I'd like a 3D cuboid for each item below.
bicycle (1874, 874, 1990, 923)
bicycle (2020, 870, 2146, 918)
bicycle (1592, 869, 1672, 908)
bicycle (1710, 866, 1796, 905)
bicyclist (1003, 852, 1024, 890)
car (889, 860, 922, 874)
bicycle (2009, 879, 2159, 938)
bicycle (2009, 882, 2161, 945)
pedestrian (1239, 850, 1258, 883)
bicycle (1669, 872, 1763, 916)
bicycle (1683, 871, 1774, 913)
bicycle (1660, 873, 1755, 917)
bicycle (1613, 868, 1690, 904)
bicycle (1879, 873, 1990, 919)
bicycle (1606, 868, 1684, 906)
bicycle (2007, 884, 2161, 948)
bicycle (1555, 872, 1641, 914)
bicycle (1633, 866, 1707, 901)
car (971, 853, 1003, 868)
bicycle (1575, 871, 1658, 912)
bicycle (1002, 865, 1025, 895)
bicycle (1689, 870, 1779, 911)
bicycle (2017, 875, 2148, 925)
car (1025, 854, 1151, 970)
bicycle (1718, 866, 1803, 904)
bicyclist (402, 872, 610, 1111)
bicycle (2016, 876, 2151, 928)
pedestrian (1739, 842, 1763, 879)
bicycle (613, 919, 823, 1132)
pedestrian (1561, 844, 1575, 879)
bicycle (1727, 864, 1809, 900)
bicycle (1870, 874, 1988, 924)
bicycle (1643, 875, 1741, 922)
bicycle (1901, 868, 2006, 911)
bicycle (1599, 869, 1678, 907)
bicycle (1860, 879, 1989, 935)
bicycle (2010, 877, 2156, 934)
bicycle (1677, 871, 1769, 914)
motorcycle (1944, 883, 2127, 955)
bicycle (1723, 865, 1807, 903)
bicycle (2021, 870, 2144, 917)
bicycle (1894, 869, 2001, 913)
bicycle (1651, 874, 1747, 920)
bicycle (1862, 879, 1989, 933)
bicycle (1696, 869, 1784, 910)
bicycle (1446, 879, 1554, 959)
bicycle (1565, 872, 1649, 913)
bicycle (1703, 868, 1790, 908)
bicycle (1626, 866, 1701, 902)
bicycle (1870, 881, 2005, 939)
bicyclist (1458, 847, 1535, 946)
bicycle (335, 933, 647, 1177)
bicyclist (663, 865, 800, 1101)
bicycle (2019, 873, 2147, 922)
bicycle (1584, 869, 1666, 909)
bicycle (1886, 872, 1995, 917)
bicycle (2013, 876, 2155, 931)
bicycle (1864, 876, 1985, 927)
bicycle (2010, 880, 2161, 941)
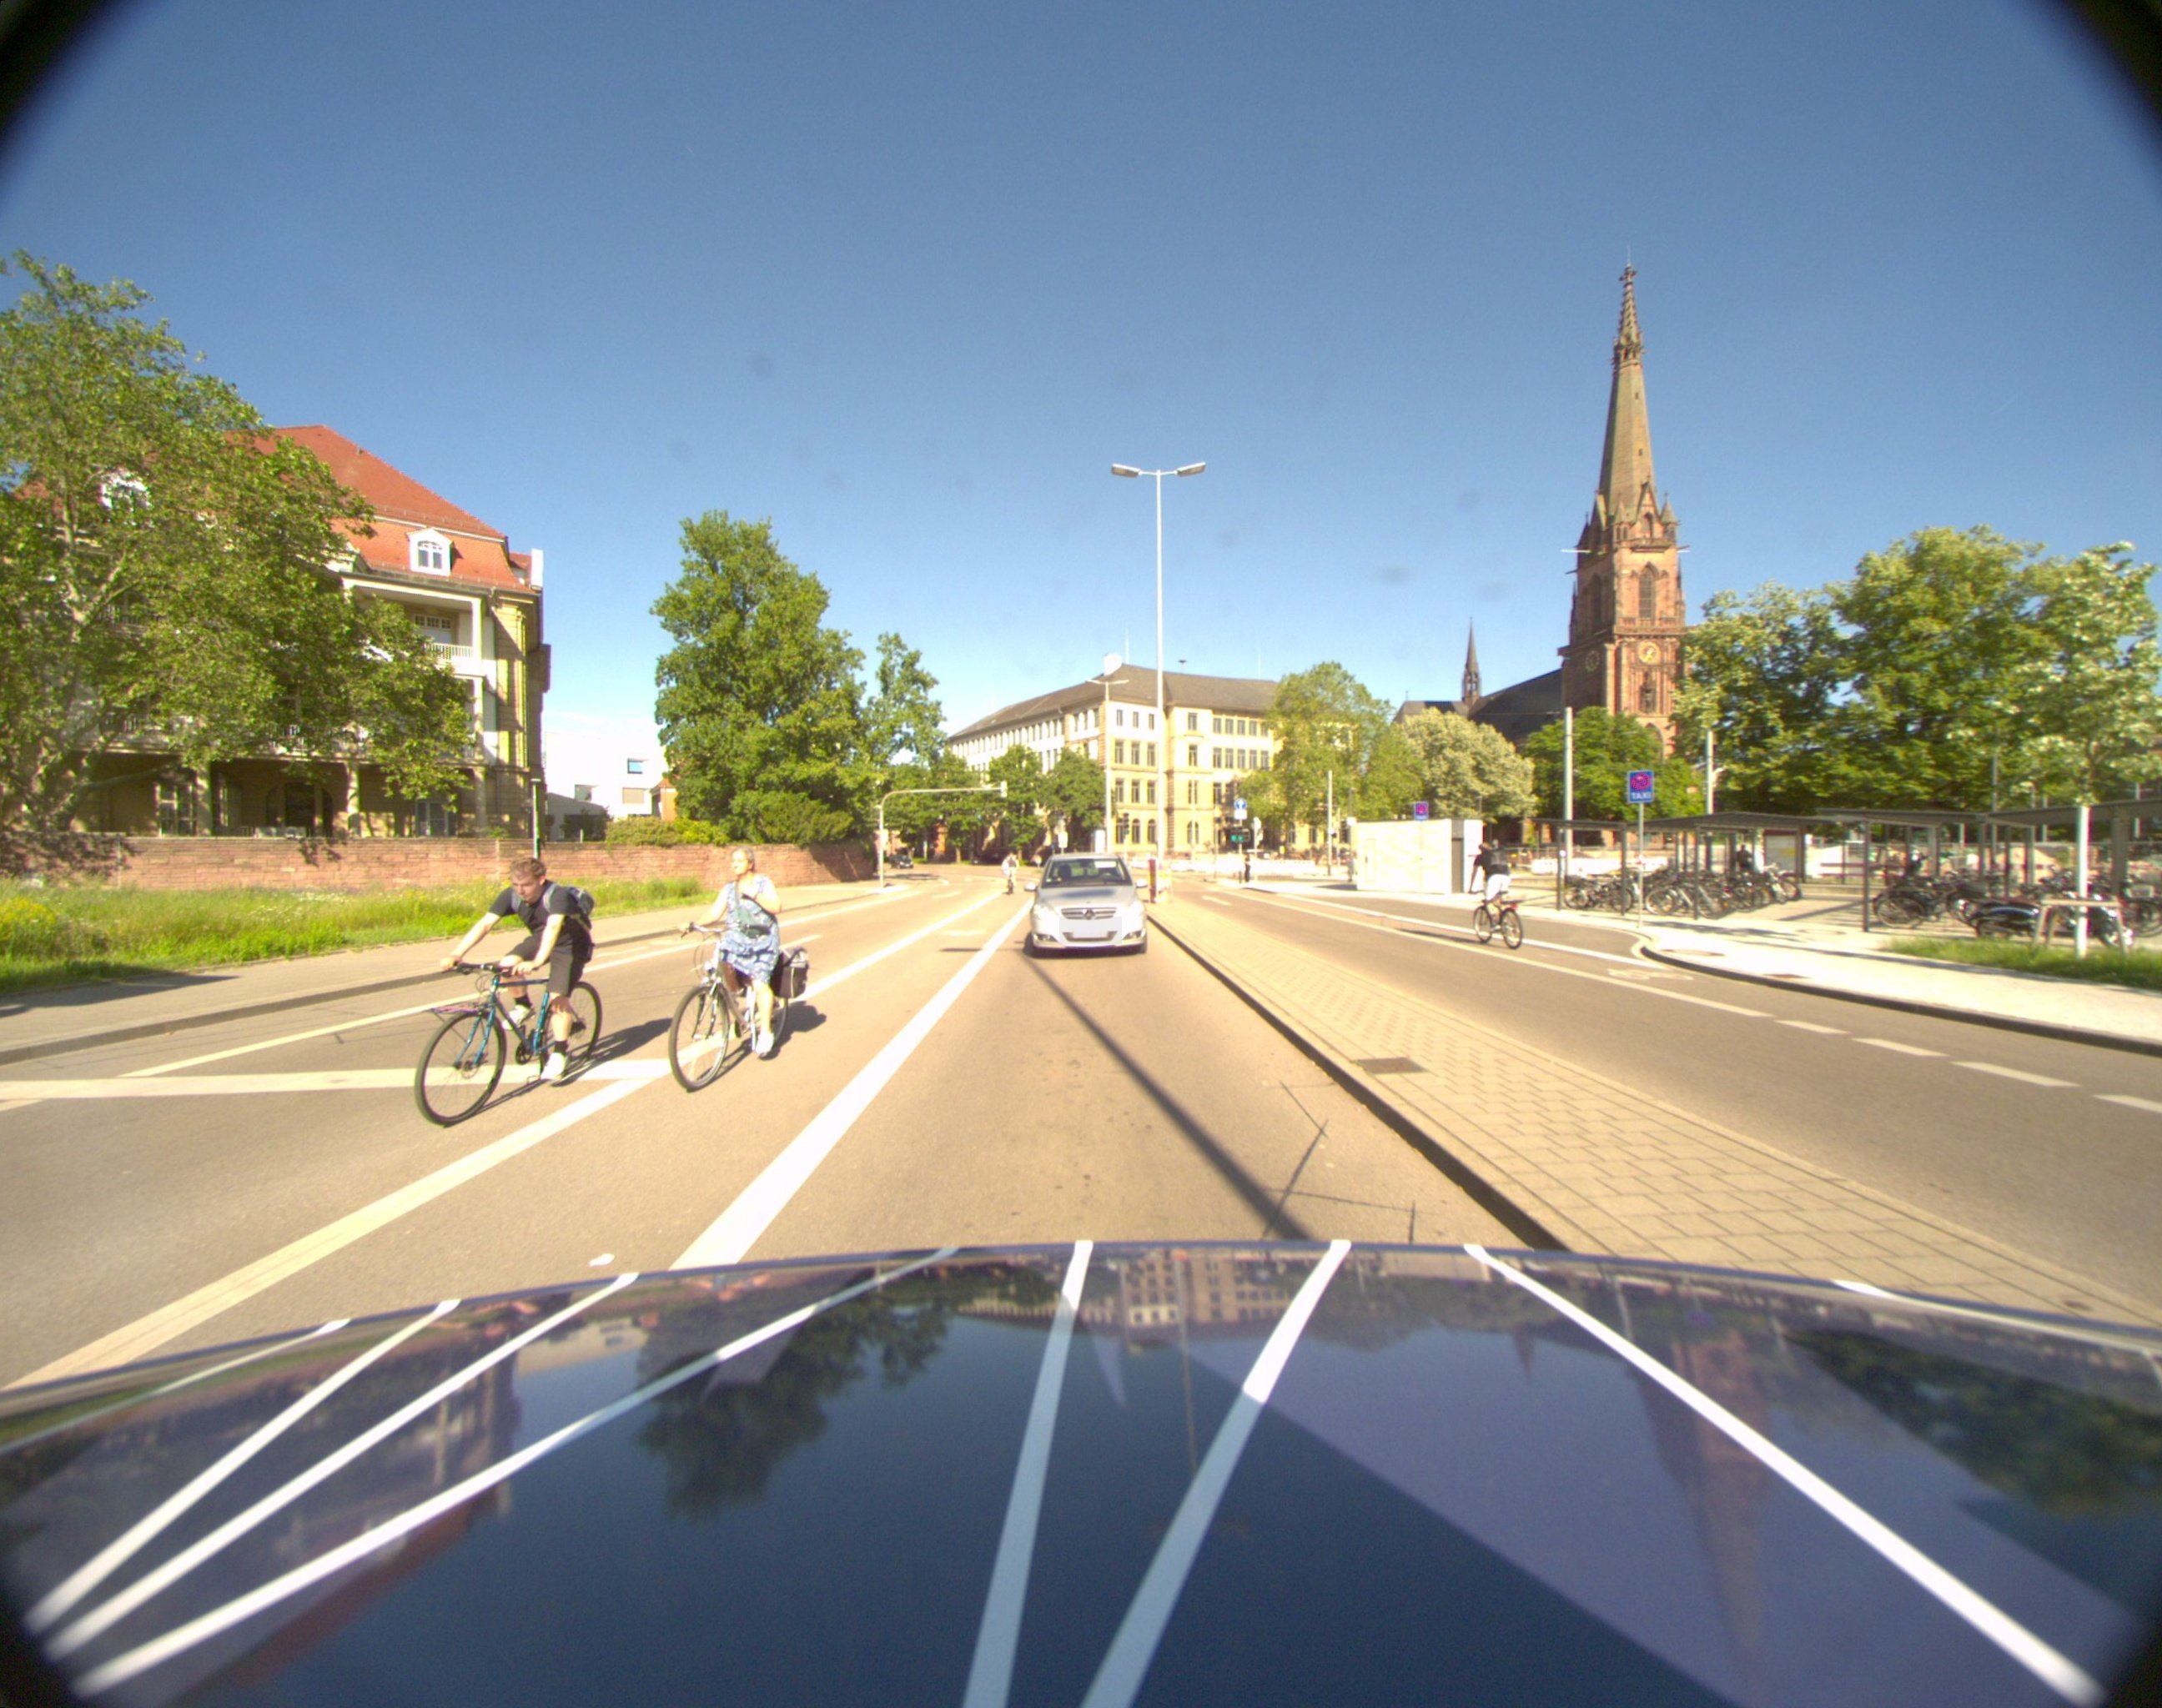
[{"bbox_3d":[20.256,1.041,18.128,0.569,1.032,1.783,0,1,-38],"label":"bicycle"},{"bbox_3d":[24.020,0.943,18.260,0.569,1.032,1.783,0,1,-38],"label":"bicycle"},{"bbox_3d":[15.986,0.981,22.078,0.569,1.032,1.783,0,1,-38],"label":"bicycle"},{"bbox_3d":[19.579,0.903,22.161,0.569,1.032,1.783,0,1,-38],"label":"bicycle"},{"bbox_3d":[-2.817,0.712,31.946,0.778,1.543,0.919,-1,1,0],"label":"bicyclist"},{"bbox_3d":[-19.912,1.454,86.090,2.003,1.464,4.287,-3,1,-36],"label":"car"},{"bbox_3d":[20.217,1.071,15.374,0.569,1.032,1.783,0,1,-38],"label":"bicycle"},{"bbox_3d":[19.174,1.103,14.516,0.569,1.032,1.783,0,1,-38],"label":"bicycle"},{"bbox_3d":[8.733,0.625,39.570,0.789,1.671,0.648,-3,1,1],"label":"pedestrian"},{"bbox_3d":[16.603,1.027,19.906,0.569,1.032,1.783,0,1,-38],"label":"bicycle"},{"bbox_3d":[17.567,1.002,20.653,0.569,1.032,1.783,0,1,-38],"label":"bicycle"},{"bbox_3d":[16.099,1.028,19.554,0.569,1.032,1.783,0,1,-38],"label":"bicycle"},{"bbox_3d":[17.460,0.961,23.284,0.569,1.032,1.783,0,1,-38],"label":"bicycle"},{"bbox_3d":[21.176,1.023,18.893,0.569,1.032,1.783,0,1,-38],"label":"bicycle"},{"bbox_3d":[16.942,0.975,22.862,0.569,1.032,1.783,0,1,-38],"label":"bicycle"},{"bbox_3d":[18.644,1.111,14.113,0.569,1.032,1.783,0,1,-38],"label":"bicycle"},{"bbox_3d":[13.838,1.025,20.384,0.569,1.032,1.783,0,1,-38],"label":"bicycle"},{"bbox_3d":[18.881,0.916,24.383,0.569,1.032,1.783,0,1,-38],"label":"bicycle"},{"bbox_3d":[-12.518,0.833,100.792,1.994,1.805,3.809,0,1,42],"label":"car"},{"bbox_3d":[14.950,1.031,21.254,0.569,1.032,1.783,0,1,-38],"label":"bicycle"},{"bbox_3d":[-2.825,1.091,31.976,0.778,1.158,1.967,-1,1,0],"label":"bicycle"},{"bbox_3d":[18.043,0.987,21.024,0.569,1.032,1.783,0,1,-38],"label":"bicycle"},{"bbox_3d":[23.024,1.028,17.519,0.569,1.032,1.783,0,1,-38],"label":"bicycle"},{"bbox_3d":[0.104,0.831,13.155,1.771,1.584,4.638,-1,1,0],"label":"car"},{"bbox_3d":[20.125,0.905,22.550,0.569,1.032,1.783,0,1,-38],"label":"bicycle"},{"bbox_3d":[-3.847,0.860,5.169,0.643,1.436,0.953,-2,0,-1],"label":"bicyclist"},{"bbox_3d":[22.422,1.042,17.044,0.569,1.032,1.783,0,1,-38],"label":"bicycle"},{"bbox_3d":[30.412,0.303,34.497,0.567,1.645,0.518,-3,1,0],"label":"pedestrian"},{"bbox_3d":[-2.642,1.178,5.820,0.642,1.158,1.967,-1,1,-1],"label":"bicycle"},{"bbox_3d":[24.475,0.390,38.169,0.537,1.712,0.683,-1,-4,30],"label":"pedestrian"},{"bbox_3d":[21.088,0.844,23.363,0.569,1.032,1.783,0,1,-38],"label":"bicycle"},{"bbox_3d":[19.765,1.026,17.753,0.569,1.032,1.783,0,1,-38],"label":"bicycle"},{"bbox_3d":[15.057,1.062,18.780,0.569,1.032,1.783,0,1,-38],"label":"bicycle"},{"bbox_3d":[23.164,0.926,20.214,0.569,1.032,1.783,0,1,-38],"label":"bicycle"},{"bbox_3d":[16.457,0.987,22.479,0.569,1.032,1.783,0,1,-38],"label":"bicycle"},{"bbox_3d":[17.823,1.097,16.096,0.569,1.032,1.783,0,1,-38],"label":"bicycle"},{"bbox_3d":[20.720,1.037,15.768,0.569,1.032,1.783,0,1,-38],"label":"bicycle"},{"bbox_3d":[17.090,1.011,20.263,0.569,1.032,1.783,0,1,-38],"label":"bicycle"},{"bbox_3d":[16.974,1.118,13.575,0.596,1.113,1.980,-1,1,-34],"label":"motorcycle"},{"bbox_3d":[20.616,0.881,22.943,0.569,1.032,1.783,0,1,-38],"label":"bicycle"},{"bbox_3d":[24.523,0.935,18.656,0.569,1.032,1.783,0,1,-38],"label":"bicycle"},{"bbox_3d":[22.519,0.948,19.786,0.569,1.032,1.783,0,1,-38],"label":"bicycle"},{"bbox_3d":[15.569,1.051,19.184,0.569,1.032,1.783,0,1,-38],"label":"bicycle"},{"bbox_3d":[18.266,1.090,16.481,0.569,1.032,1.783,0,1,-38],"label":"bicycle"},{"bbox_3d":[18.545,0.981,21.422,0.569,1.032,1.783,0,1,-38],"label":"bicycle"},{"bbox_3d":[6.971,1.046,12.773,0.748,1.158,1.870,1,1,0],"label":"bicycle"},{"bbox_3d":[14.355,1.030,20.784,0.569,1.032,1.783,0,1,-38],"label":"bicycle"},{"bbox_3d":[19.041,0.954,21.769,0.569,1.032,1.783,0,1,-38],"label":"bicycle"},{"bbox_3d":[18.403,0.920,24.029,0.569,1.032,1.783,0,1,-38],"label":"bicycle"},{"bbox_3d":[17.496,1.119,15.564,0.569,1.032,1.783,0,1,-38],"label":"bicycle"},{"bbox_3d":[6.974,0.686,12.806,0.721,1.612,0.977,1,1,0],"label":"bicyclist"},{"bbox_3d":[-3.837,1.221,5.187,0.642,1.158,1.870,-2,0,0],"label":"bicycle"},{"bbox_3d":[-2.636,0.928,5.811,0.643,1.653,0.776,-1,2,-1],"label":"bicyclist"},{"bbox_3d":[23.512,0.990,17.877,0.569,1.032,1.783,0,1,-38],"label":"bicycle"},{"bbox_3d":[15.496,0.985,21.677,0.569,1.032,1.783,0,1,-38],"label":"bicycle"},{"bbox_3d":[21.897,0.999,19.394,0.569,1.032,1.783,0,1,-38],"label":"bicycle"},{"bbox_3d":[21.280,1.024,16.175,0.569,1.032,1.783,0,1,-38],"label":"bicycle"},{"bbox_3d":[19.220,1.057,17.351,0.569,1.032,1.783,0,1,-38],"label":"bicycle"},{"bbox_3d":[19.647,1.072,14.893,0.569,1.032,1.783,0,1,-38],"label":"bicycle"}]
